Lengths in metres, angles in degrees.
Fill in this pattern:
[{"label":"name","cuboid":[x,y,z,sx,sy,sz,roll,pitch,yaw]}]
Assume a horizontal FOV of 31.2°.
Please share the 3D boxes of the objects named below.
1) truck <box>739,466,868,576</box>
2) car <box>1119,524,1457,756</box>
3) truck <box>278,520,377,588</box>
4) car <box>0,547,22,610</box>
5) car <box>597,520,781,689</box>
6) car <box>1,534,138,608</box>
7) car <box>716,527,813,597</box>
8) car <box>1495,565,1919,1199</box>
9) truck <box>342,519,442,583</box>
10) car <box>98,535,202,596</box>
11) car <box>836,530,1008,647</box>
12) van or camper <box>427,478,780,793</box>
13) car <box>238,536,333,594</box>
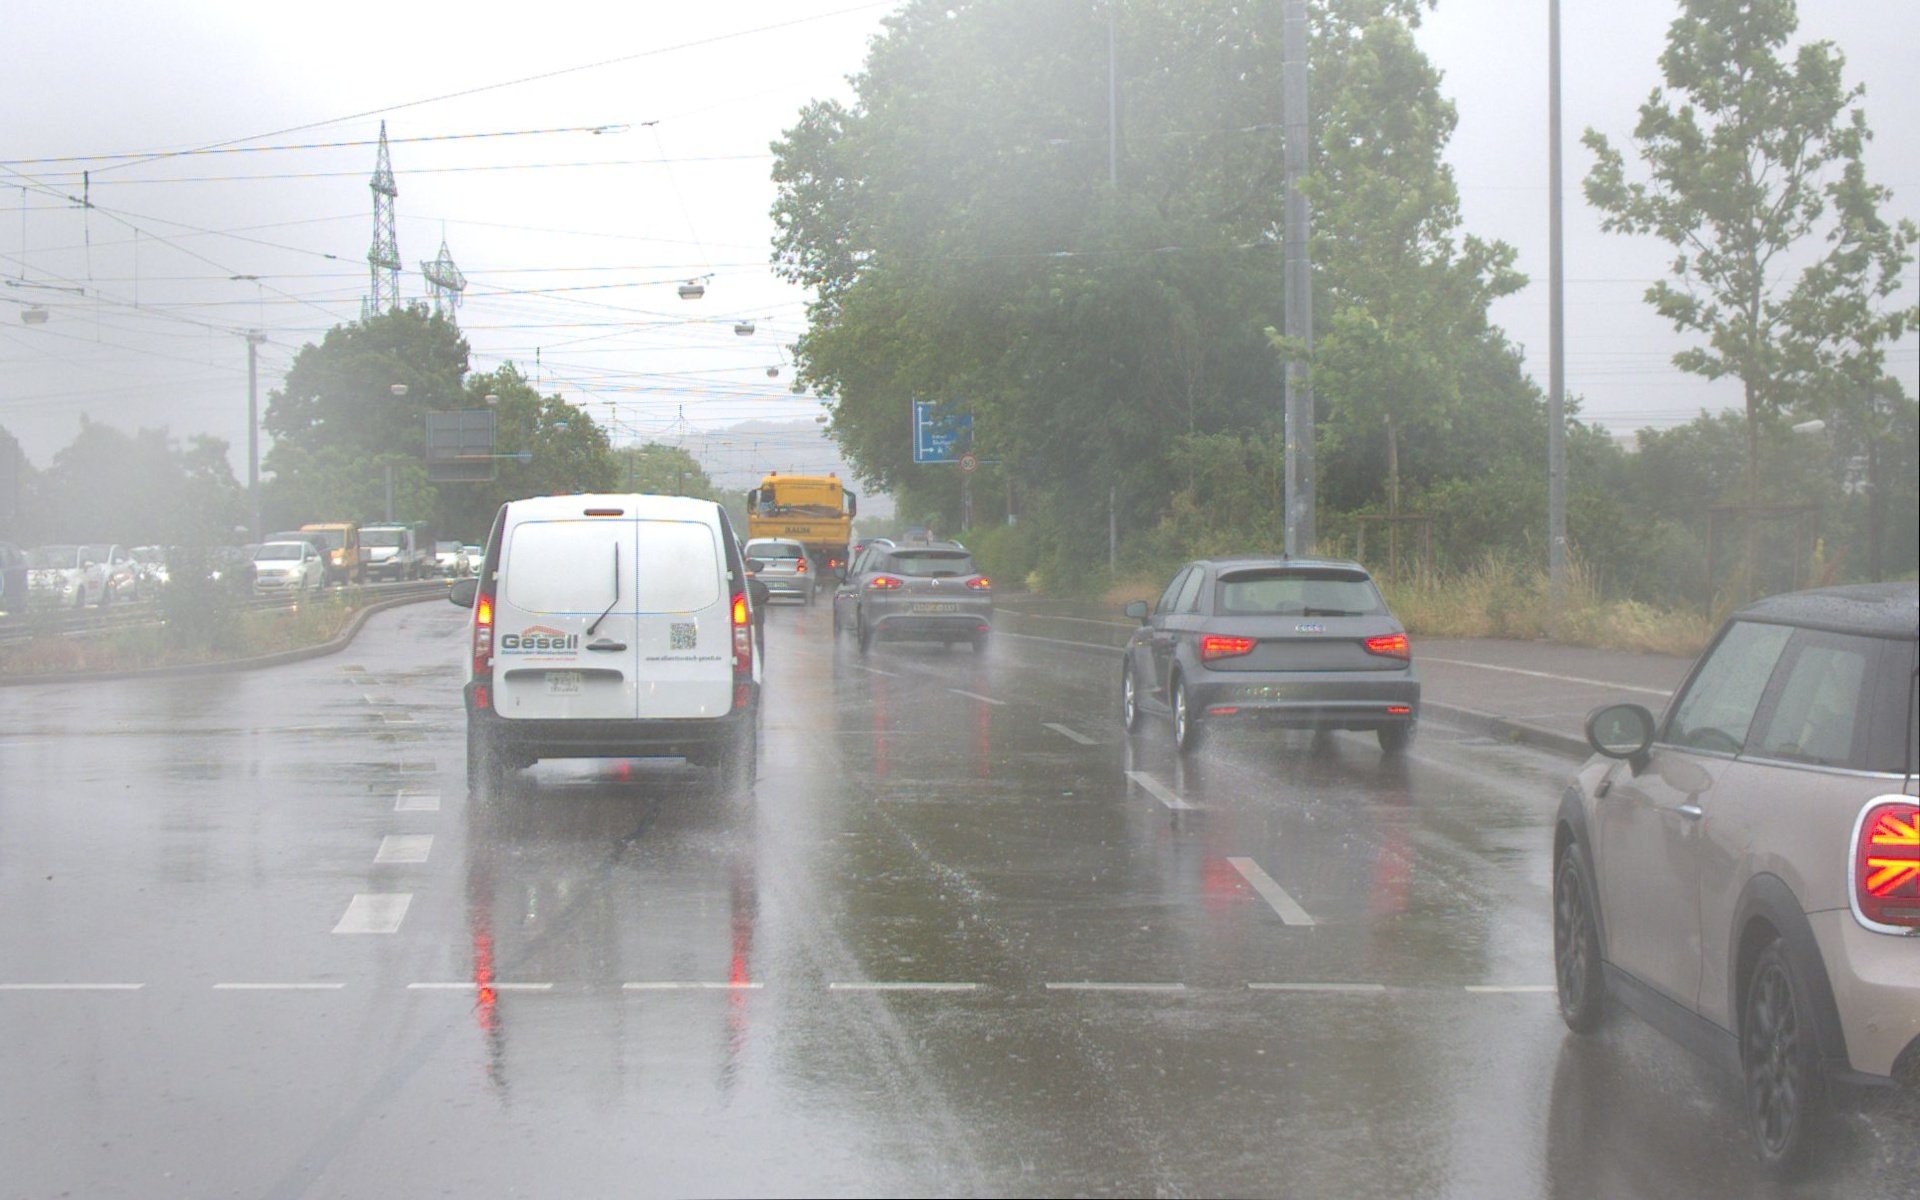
[{"label":"truck","cuboid":[-3.984,-2.039,88.905,3.113,2.763,6.330,0,1,0]},{"label":"car","cuboid":[2.309,0.230,25.245,1.967,1.523,3.991,0,2,-2]},{"label":"truck","cuboid":[-23.604,-1.725,128.562,2.227,2.453,6.066,1,1,3]},{"label":"car","cuboid":[-20.561,-0.405,69.923,1.712,1.245,4.462,1,2,1]},{"label":"car","cuboid":[-3.040,-0.006,38.256,1.899,1.711,4.727,0,2,-5]},{"label":"car","cuboid":[-19.857,-0.671,76.770,1.712,1.530,4.047,1,2,5]},{"label":"car","cuboid":[-4.177,-0.841,73.886,1.818,1.409,3.779,0,2,0]},{"label":"car","cuboid":[2.687,0.654,9.401,1.791,1.409,3.854,0,2,-1]},{"label":"truck","cuboid":[-22.967,-1.999,139.288,2.435,2.449,7.218,1,1,3]},{"label":"car","cuboid":[-23.536,-1.027,100.050,1.907,1.601,4.843,2,2,-1]},{"label":"car","cuboid":[-0.539,-0.183,44.965,1.818,1.409,3.779,0,2,-7]},{"label":"van or camper","cuboid":[-2.158,0.138,21.810,1.993,1.778,4.001,1,2,-3]},{"label":"car","cuboid":[-20.117,-1.069,102.665,1.873,1.568,4.328,1,2,1]}]
